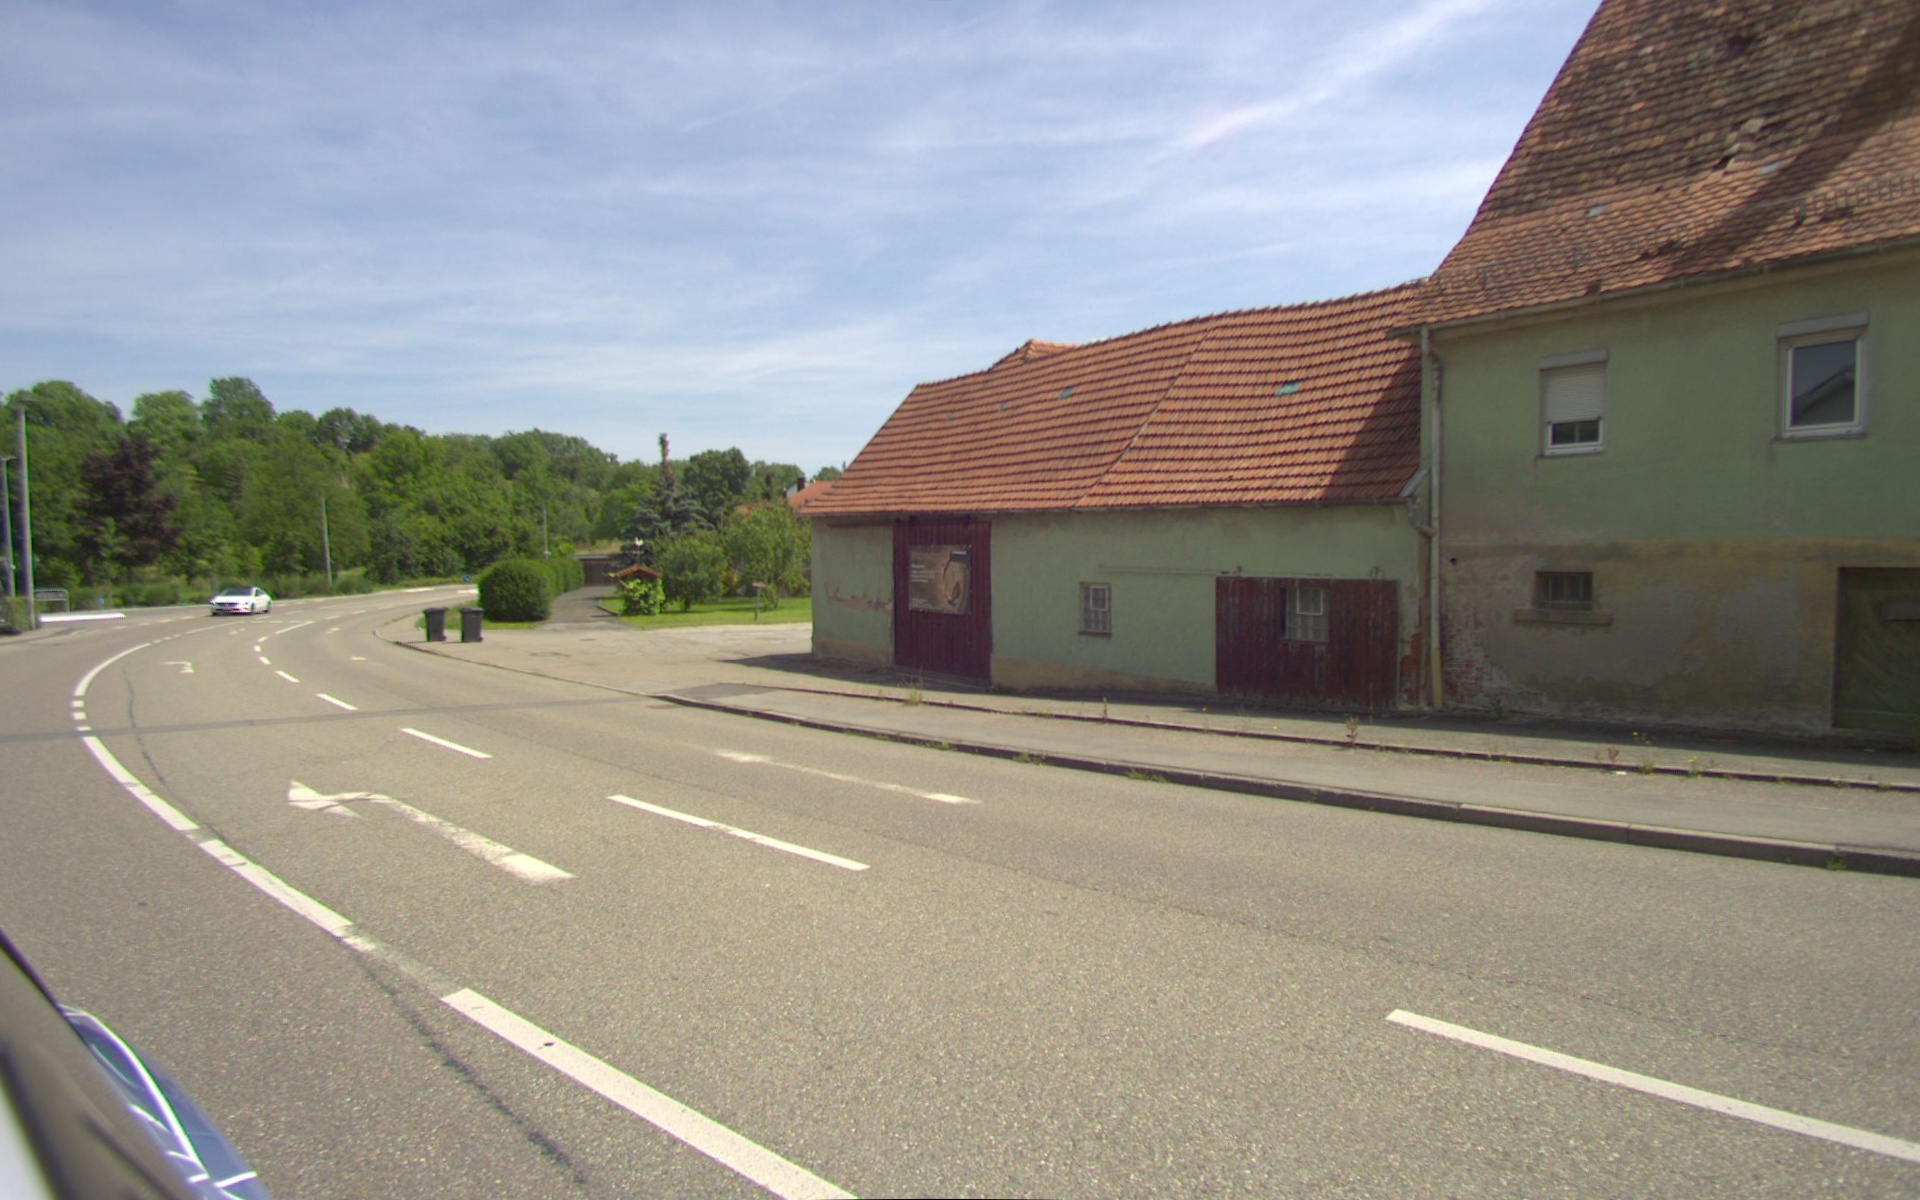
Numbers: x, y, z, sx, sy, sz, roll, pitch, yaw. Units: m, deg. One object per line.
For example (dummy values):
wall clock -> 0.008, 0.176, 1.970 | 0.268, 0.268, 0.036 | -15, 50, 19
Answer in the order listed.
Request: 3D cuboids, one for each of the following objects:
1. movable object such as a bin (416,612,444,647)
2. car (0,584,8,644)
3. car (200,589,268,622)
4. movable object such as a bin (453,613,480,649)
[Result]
movable object such as a bin -> -16.765, 0.933, 32.000 | 0.540, 1.089, 0.548 | -1, 1, 33
car -> -33.268, 0.541, 32.267 | 3.844, 1.964, 1.961 | -3, 1, -31
car -> -38.193, 0.260, 53.347 | 1.796, 1.563, 4.013 | -3, 1, -19
movable object such as a bin -> -15.243, 0.947, 31.249 | 0.540, 1.058, 0.529 | -1, 1, 33
